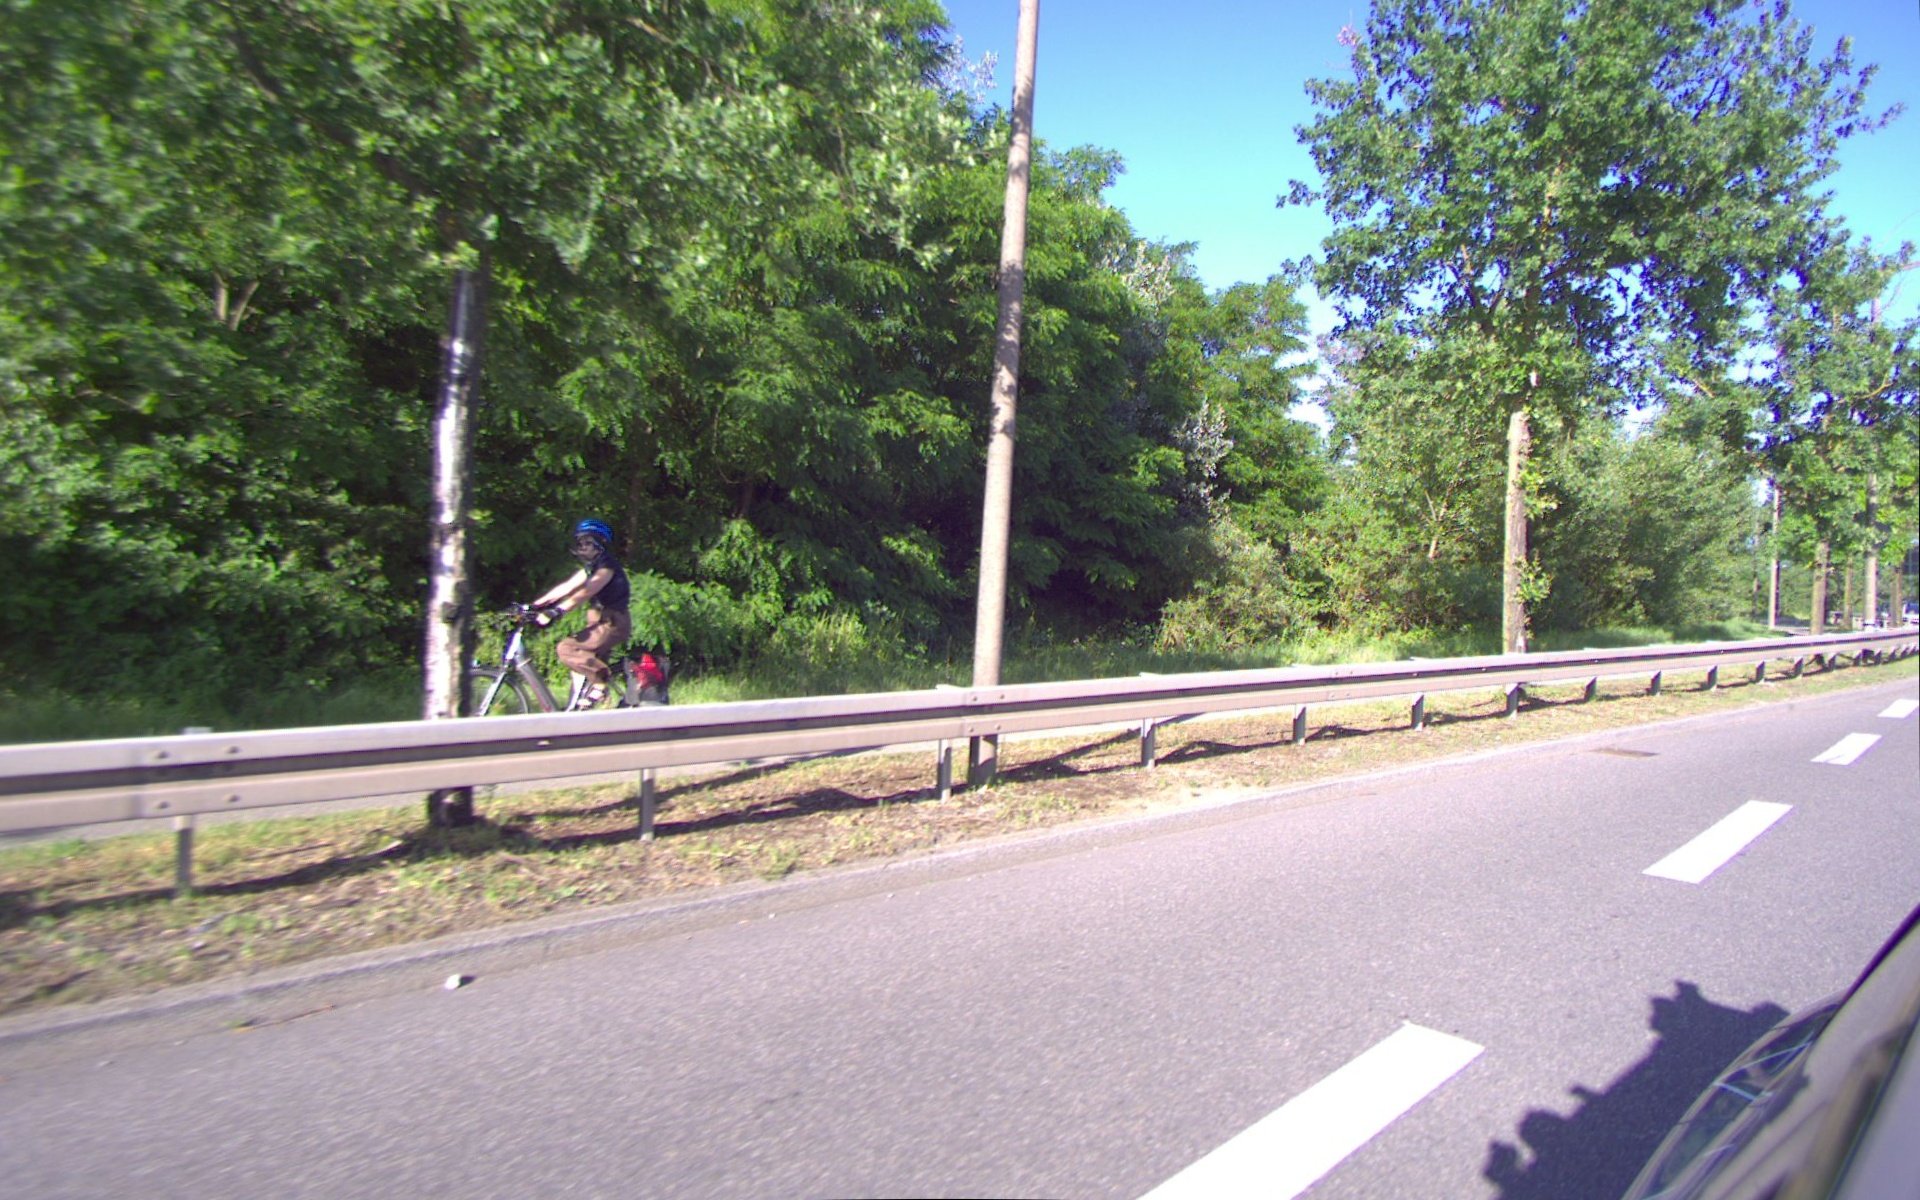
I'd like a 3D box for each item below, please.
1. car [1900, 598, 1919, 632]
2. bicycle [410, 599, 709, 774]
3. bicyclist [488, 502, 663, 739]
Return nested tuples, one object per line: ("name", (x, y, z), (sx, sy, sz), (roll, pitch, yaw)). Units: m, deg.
("car", (48.124, 0.787, 49.778), (2.139, 1.586, 4.144), (5, 3, 36))
("bicycle", (-2.873, 0.557, 7.370), (1.886, 1.087, 0.703), (0, 3, -39))
("bicyclist", (-2.813, 0.129, 7.402), (0.986, 1.597, 0.709), (1, 2, -38))
